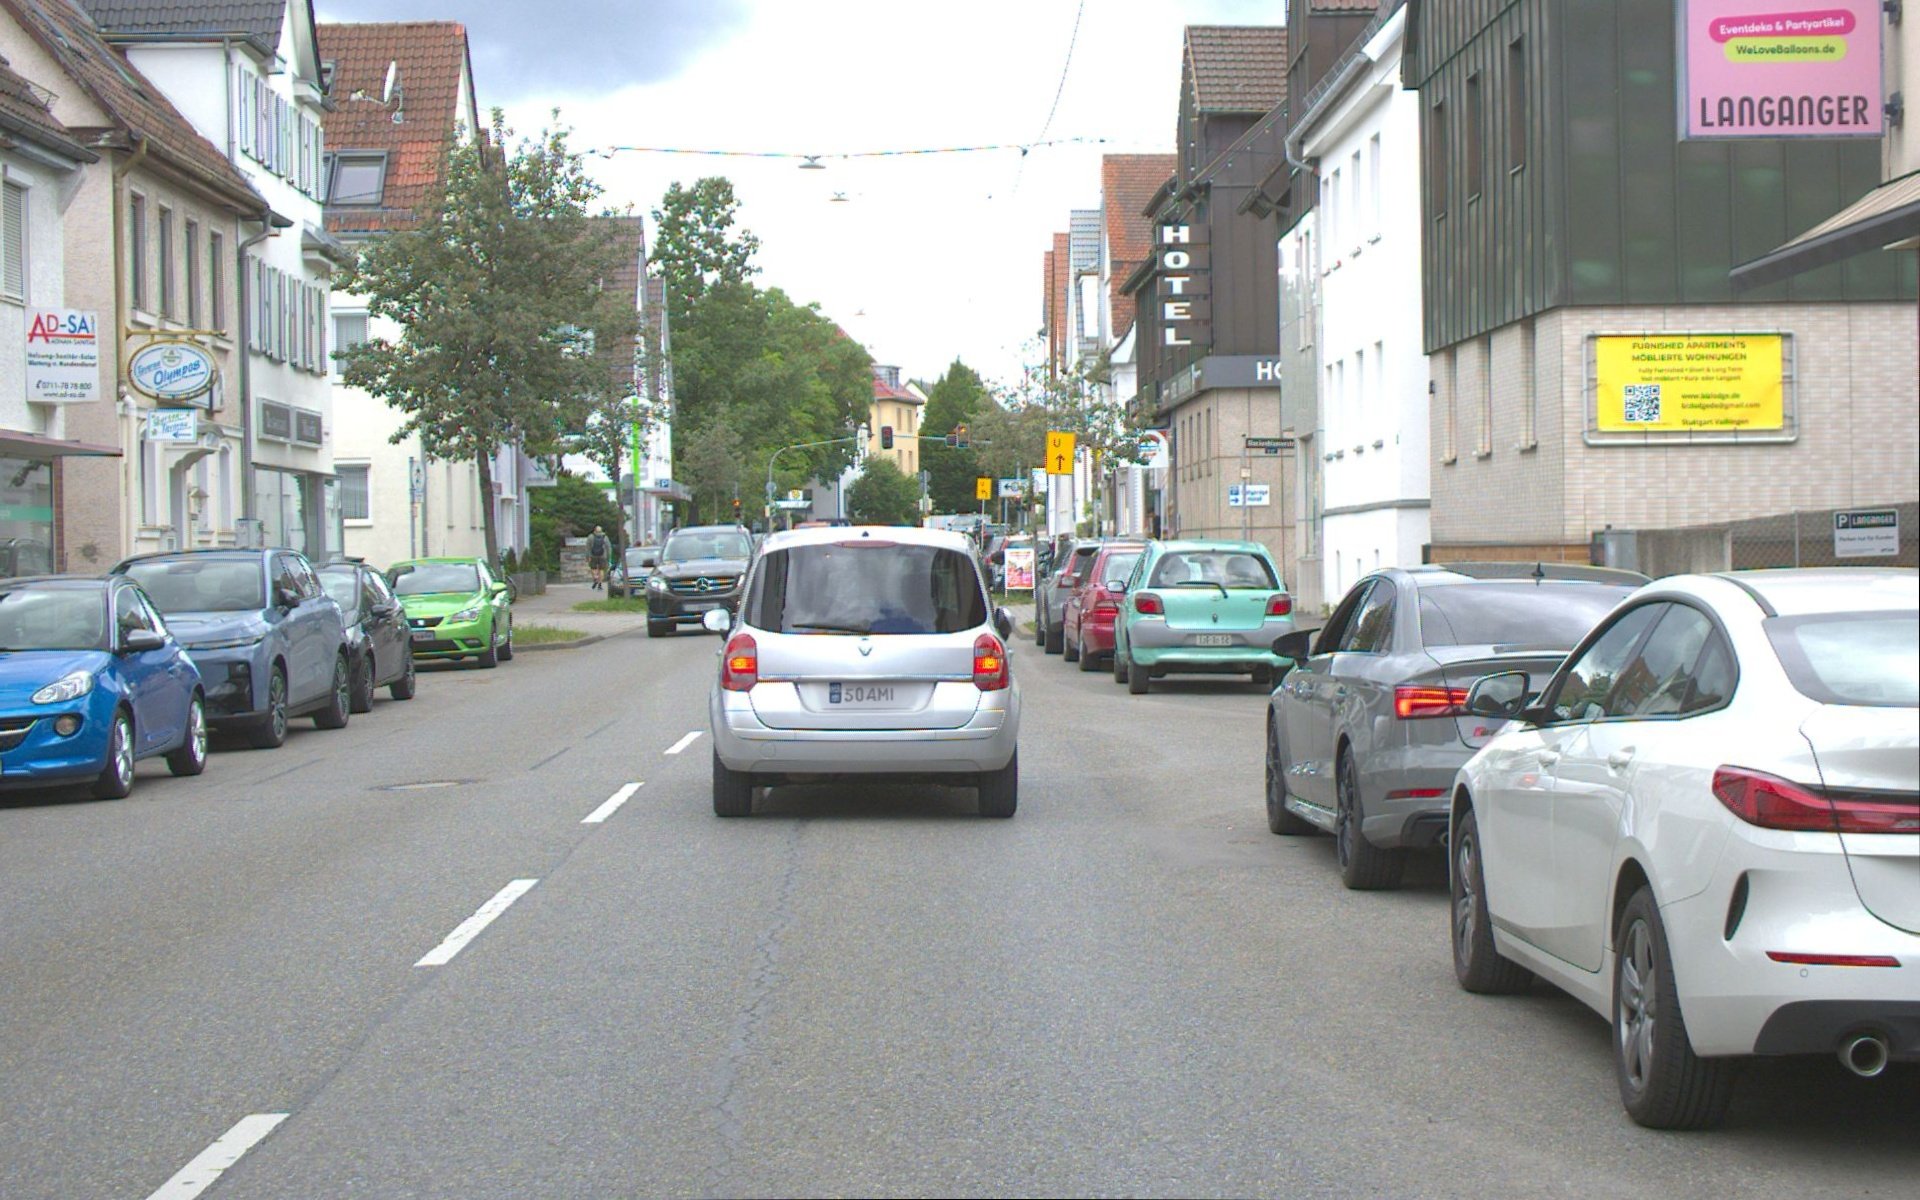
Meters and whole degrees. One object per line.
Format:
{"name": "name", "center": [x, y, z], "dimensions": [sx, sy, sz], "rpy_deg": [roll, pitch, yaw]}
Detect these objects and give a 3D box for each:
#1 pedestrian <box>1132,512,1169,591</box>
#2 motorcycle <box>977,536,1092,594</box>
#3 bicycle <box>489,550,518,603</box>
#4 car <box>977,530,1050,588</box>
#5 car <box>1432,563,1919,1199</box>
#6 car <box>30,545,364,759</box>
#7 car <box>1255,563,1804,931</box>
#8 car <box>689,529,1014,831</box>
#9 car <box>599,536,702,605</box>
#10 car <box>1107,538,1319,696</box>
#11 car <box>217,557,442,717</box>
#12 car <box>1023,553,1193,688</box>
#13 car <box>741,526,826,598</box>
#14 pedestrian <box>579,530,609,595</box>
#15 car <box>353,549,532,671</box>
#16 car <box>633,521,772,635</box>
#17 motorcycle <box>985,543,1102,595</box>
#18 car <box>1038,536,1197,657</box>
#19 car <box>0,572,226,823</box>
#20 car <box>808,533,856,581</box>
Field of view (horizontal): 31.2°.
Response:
{"name": "pedestrian", "center": [4.701, -1.202, 85.033], "dimensions": [0.857, 1.921, 0.900], "rpy_deg": [0, 1, -1]}
{"name": "motorcycle", "center": [1.727, -0.815, 79.776], "dimensions": [2.707, 1.331, 0.700], "rpy_deg": [-1, 1, -31]}
{"name": "bicycle", "center": [-10.129, -0.527, 76.323], "dimensions": [0.514, 1.149, 1.666], "rpy_deg": [0, 1, -4]}
{"name": "car", "center": [1.341, -1.056, 87.732], "dimensions": [1.700, 1.462, 4.239], "rpy_deg": [0, 1, -1]}
{"name": "car", "center": [2.567, 0.636, 9.758], "dimensions": [1.831, 1.441, 4.332], "rpy_deg": [0, 1, 0]}
{"name": "car", "center": [-6.324, 0.372, 28.980], "dimensions": [1.803, 1.593, 4.305], "rpy_deg": [-2, 1, 0]}
{"name": "car", "center": [2.467, 0.570, 15.890], "dimensions": [1.831, 1.441, 4.110], "rpy_deg": [0, 1, 0]}
{"name": "car", "center": [-0.570, 0.381, 19.901], "dimensions": [1.682, 1.560, 3.993], "rpy_deg": [0, 1, 0]}
{"name": "car", "center": [-7.153, -0.701, 79.894], "dimensions": [1.948, 1.462, 4.516], "rpy_deg": [-3, 1, 0]}
{"name": "car", "center": [2.505, 0.125, 34.828], "dimensions": [1.831, 1.492, 3.993], "rpy_deg": [0, 1, 0]}
{"name": "car", "center": [-6.296, 0.327, 34.670], "dimensions": [1.581, 1.503, 3.812], "rpy_deg": [0, 1, 0]}
{"name": "car", "center": [1.665, 0.194, 39.943], "dimensions": [1.755, 1.441, 4.455], "rpy_deg": [0, 1, 0]}
{"name": "car", "center": [-4.171, -0.925, 81.946], "dimensions": [1.794, 1.573, 4.192], "rpy_deg": [-3, 1, -1]}
{"name": "pedestrian", "center": [-10.128, -1.038, 95.174], "dimensions": [0.762, 1.785, 0.890], "rpy_deg": [0, 1, -1]}
{"name": "car", "center": [-6.670, 0.095, 44.658], "dimensions": [1.682, 1.442, 4.020], "rpy_deg": [-2, 1, 0]}
{"name": "car", "center": [-4.196, -0.389, 56.656], "dimensions": [1.900, 1.731, 4.366], "rpy_deg": [-2, 1, 0]}
{"name": "motorcycle", "center": [1.918, -0.721, 78.733], "dimensions": [2.728, 1.179, 0.700], "rpy_deg": [-1, 1, -31]}
{"name": "car", "center": [2.034, -0.081, 45.658], "dimensions": [1.875, 1.534, 4.513], "rpy_deg": [0, 1, 0]}
{"name": "car", "center": [-6.231, 0.613, 23.229], "dimensions": [1.682, 1.494, 3.775], "rpy_deg": [-2, 1, 0]}
{"name": "car", "center": [-5.385, -1.814, 145.317], "dimensions": [1.952, 2.007, 4.000], "rpy_deg": [0, 1, -1]}
